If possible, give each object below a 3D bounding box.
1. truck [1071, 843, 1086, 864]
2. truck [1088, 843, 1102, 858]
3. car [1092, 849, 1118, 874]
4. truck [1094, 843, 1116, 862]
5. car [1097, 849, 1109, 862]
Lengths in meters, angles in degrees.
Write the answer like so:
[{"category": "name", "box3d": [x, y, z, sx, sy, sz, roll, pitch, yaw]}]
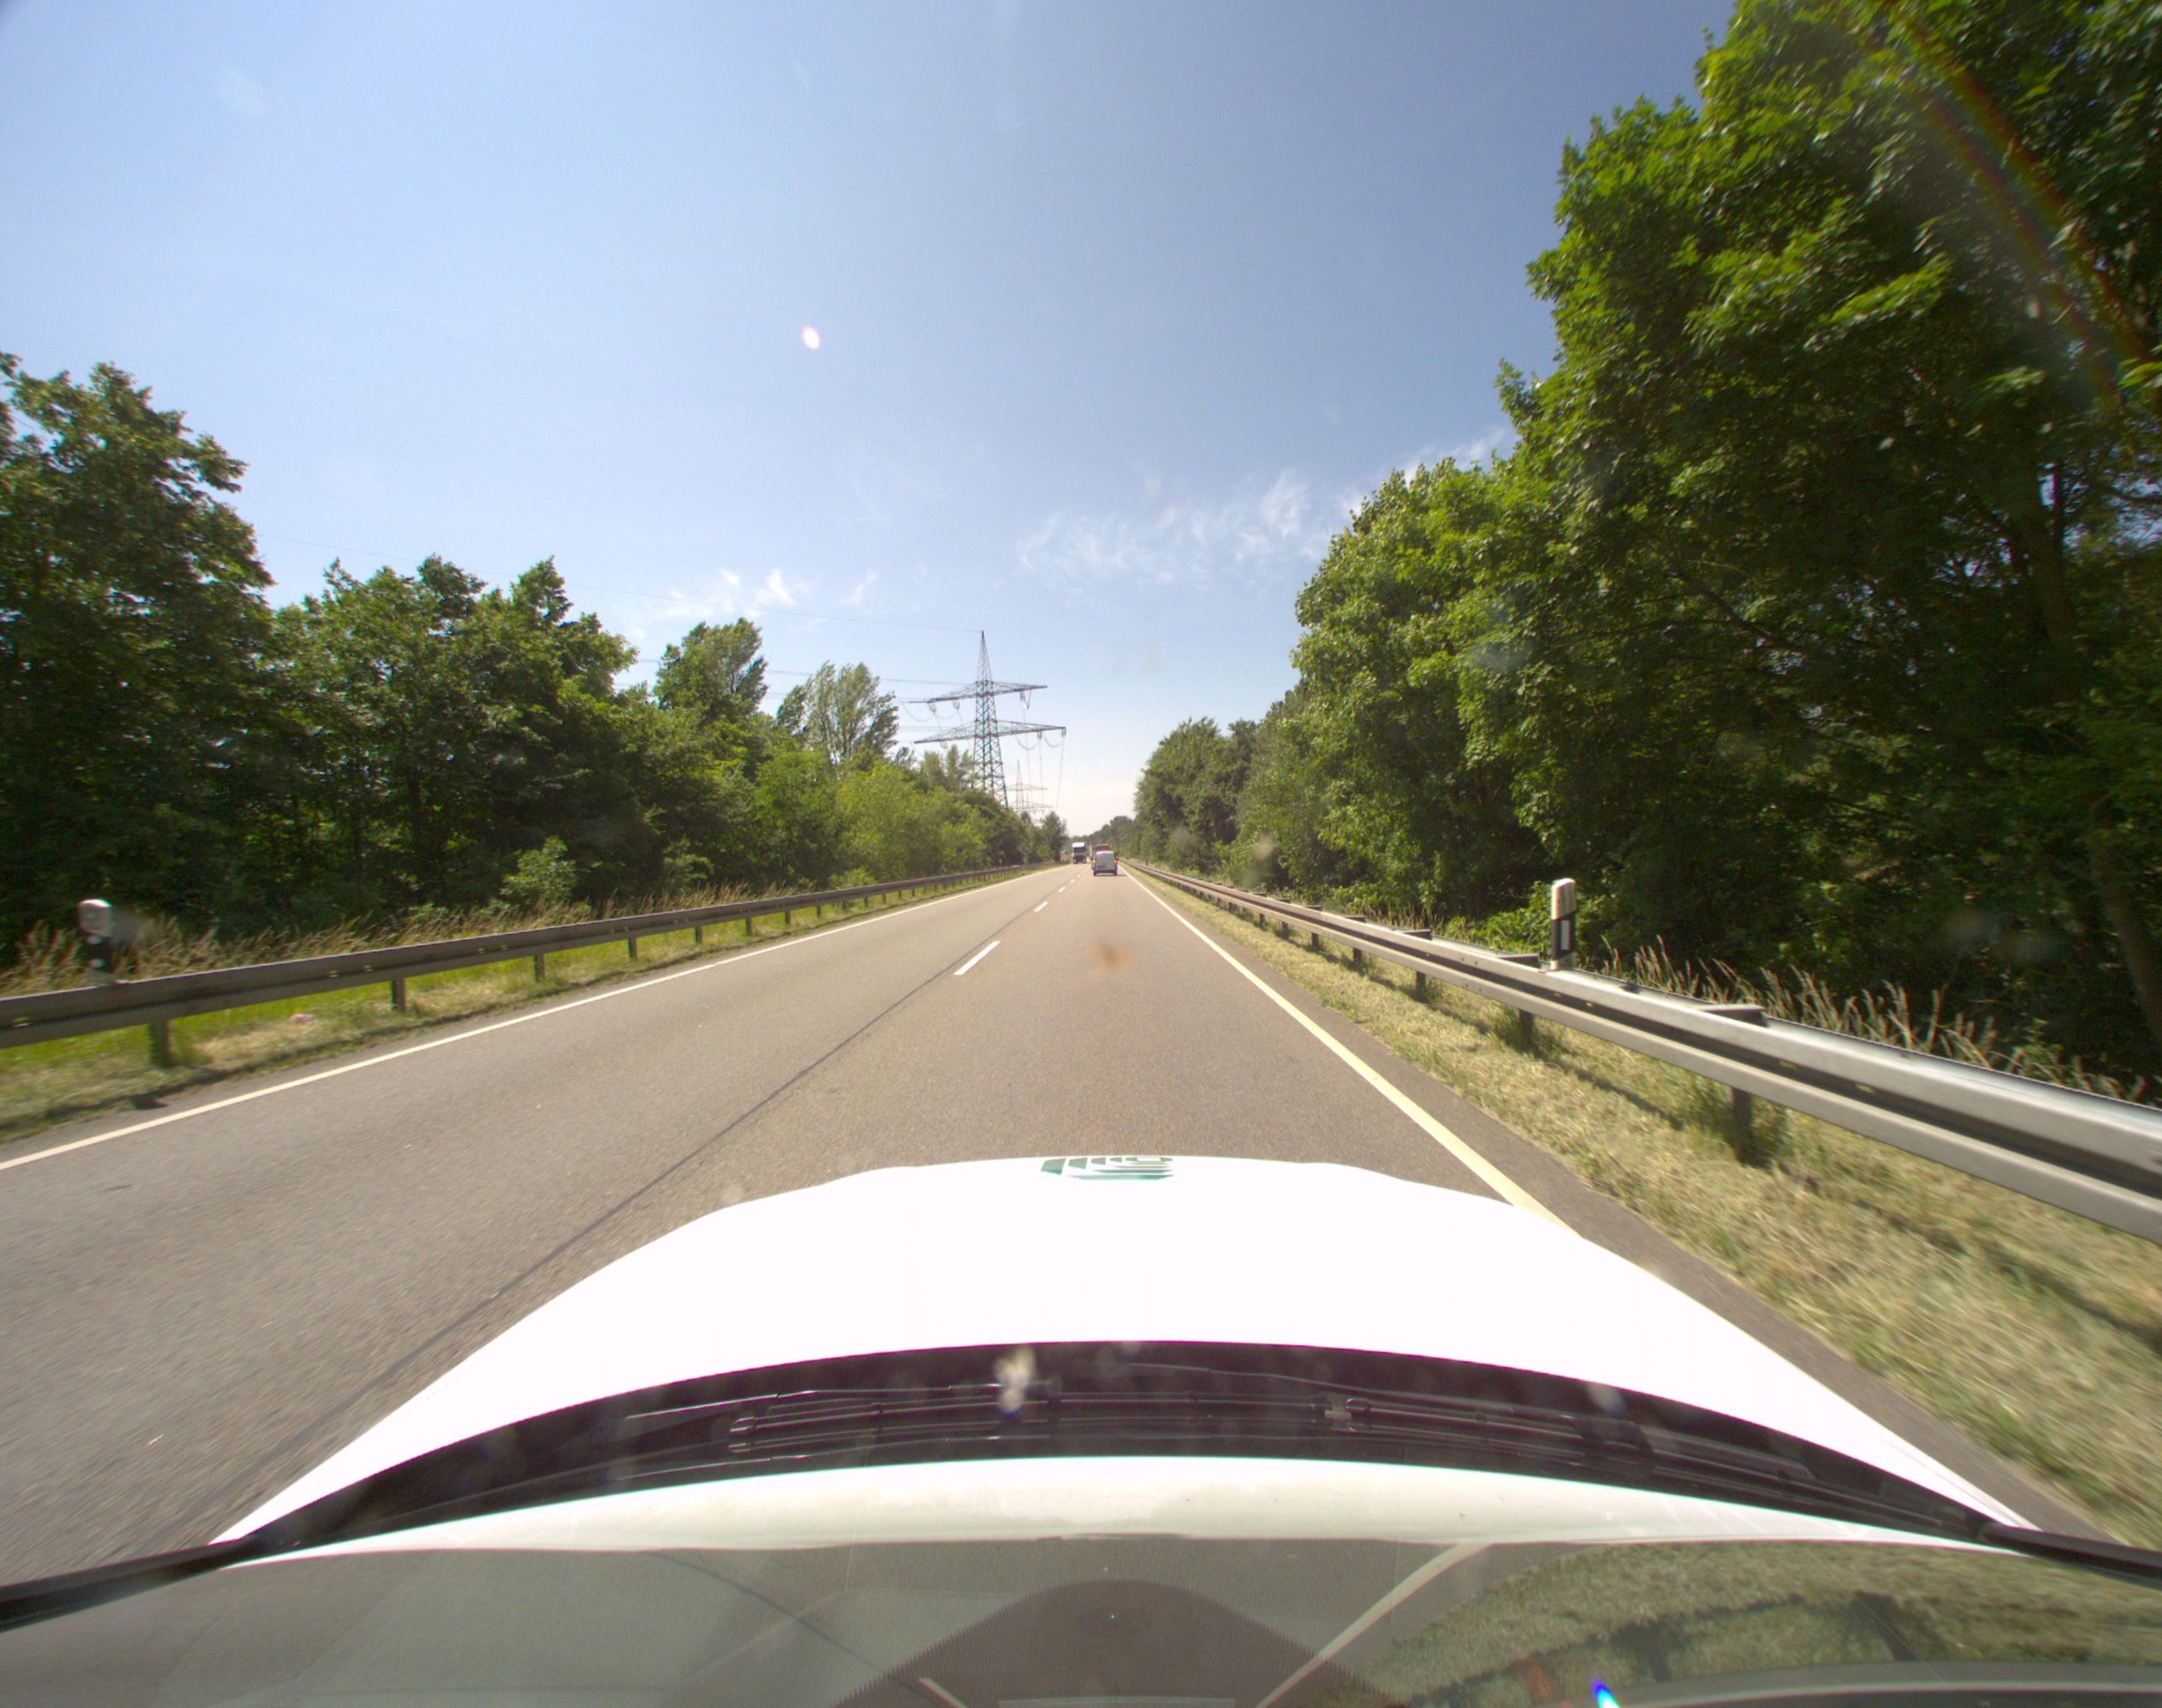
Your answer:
[{"category": "truck", "box3d": [-0.462, -0.019, 157.374, 2.753, 3.999, 5.908, -1, 0, 1]}, {"category": "truck", "box3d": [3.729, -0.962, 220.547, 3.392, 3.854, 16.812, -1, 1, -1]}, {"category": "car", "box3d": [1.751, 0.502, 60.395, 1.868, 1.741, 4.001, -1, 1, 1]}, {"category": "truck", "box3d": [4.151, -0.356, 144.537, 3.287, 3.171, 14.400, -1, 1, -1]}, {"category": "car", "box3d": [3.546, 0.215, 133.114, 1.758, 2.013, 3.998, -1, 0, -1]}]
